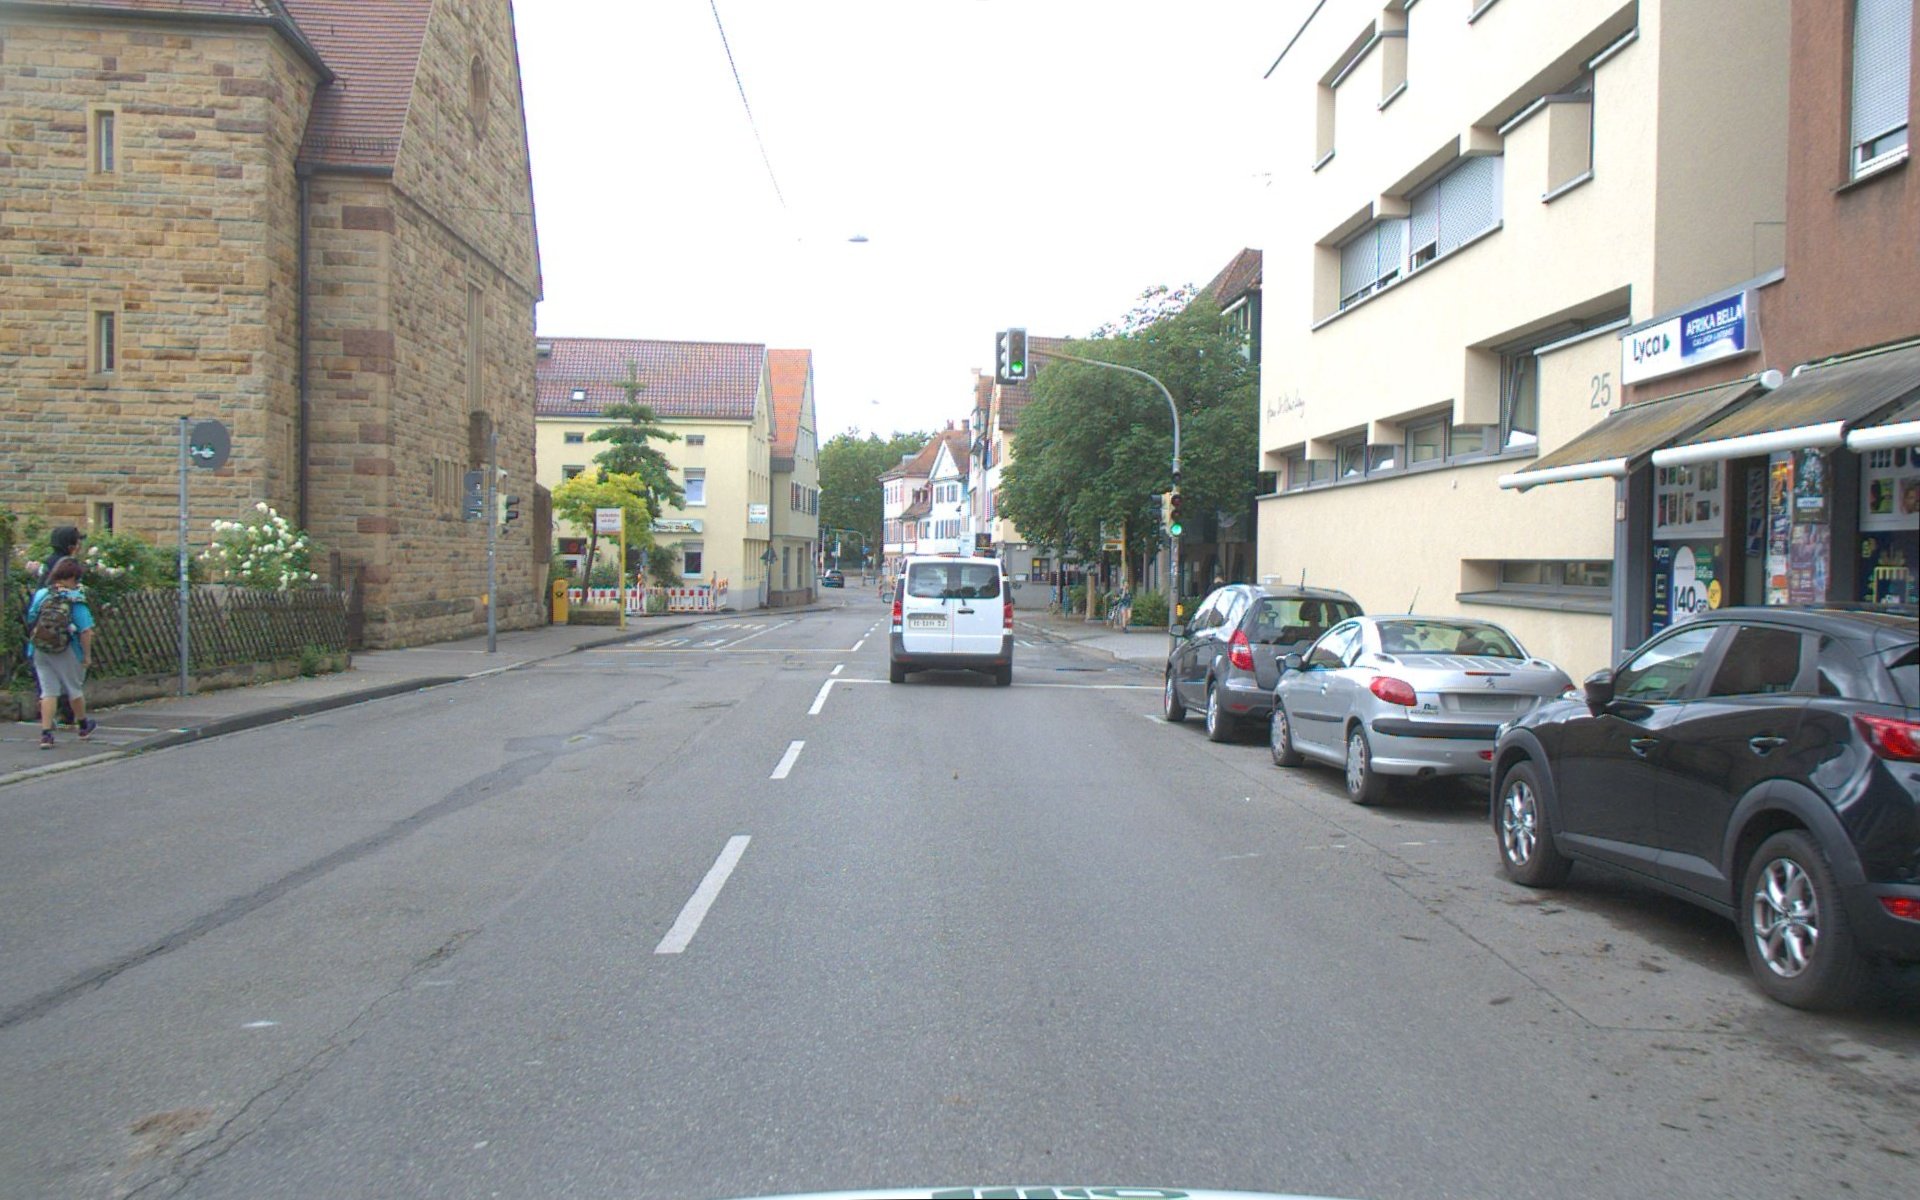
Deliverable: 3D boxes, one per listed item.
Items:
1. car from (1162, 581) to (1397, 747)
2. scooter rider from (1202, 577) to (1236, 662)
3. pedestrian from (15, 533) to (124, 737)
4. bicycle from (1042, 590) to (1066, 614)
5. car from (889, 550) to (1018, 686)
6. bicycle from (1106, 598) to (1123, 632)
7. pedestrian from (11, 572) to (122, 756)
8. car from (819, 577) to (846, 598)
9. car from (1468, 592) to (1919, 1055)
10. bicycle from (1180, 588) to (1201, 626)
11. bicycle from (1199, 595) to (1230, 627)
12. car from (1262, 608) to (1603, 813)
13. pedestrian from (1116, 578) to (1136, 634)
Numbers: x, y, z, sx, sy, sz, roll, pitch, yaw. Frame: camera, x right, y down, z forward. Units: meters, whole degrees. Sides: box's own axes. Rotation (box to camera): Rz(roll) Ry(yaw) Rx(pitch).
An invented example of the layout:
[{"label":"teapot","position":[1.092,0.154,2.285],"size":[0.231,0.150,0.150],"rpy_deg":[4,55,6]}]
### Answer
[{"label":"car","position":[3.353,0.614,18.040],"size":[1.677,1.587,3.784],"rpy_deg":[1,0,-2]},{"label":"scooter rider","position":[5.156,0.395,32.901],"size":[0.445,1.660,0.503],"rpy_deg":[-2,-1,-16]},{"label":"pedestrian","position":[-8.518,0.323,15.837],"size":[0.559,1.880,0.697],"rpy_deg":[4,0,-1]},{"label":"bicycle","position":[4.506,0.083,79.423],"size":[0.492,1.126,1.628],"rpy_deg":[0,0,-21]},{"label":"car","position":[-0.106,0.264,25.870],"size":[1.834,1.945,4.000],"rpy_deg":[1,0,0]},{"label":"bicycle","position":[5.500,0.527,59.034],"size":[0.326,1.161,1.958],"rpy_deg":[2,0,-2]},{"label":"pedestrian","position":[-7.944,0.551,14.729],"size":[0.559,1.581,0.697],"rpy_deg":[2,0,-1]},{"label":"car","position":[-13.009,-1.308,168.799],"size":[1.904,2.049,3.982],"rpy_deg":[2,0,-17]},{"label":"car","position":[3.897,0.765,7.594],"size":[1.570,1.545,4.206],"rpy_deg":[2,0,-4]},{"label":"bicycle","position":[8.120,0.232,58.342],"size":[0.326,1.323,1.958],"rpy_deg":[2,0,-2]},{"label":"bicycle","position":[8.984,0.372,58.466],"size":[0.534,1.088,2.288],"rpy_deg":[0,0,-6]},{"label":"car","position":[3.628,0.777,13.370],"size":[1.520,1.356,3.811],"rpy_deg":[1,0,-2]},{"label":"pedestrian","position":[5.272,0.179,52.544],"size":[0.589,1.745,0.860],"rpy_deg":[1,0,6]}]
